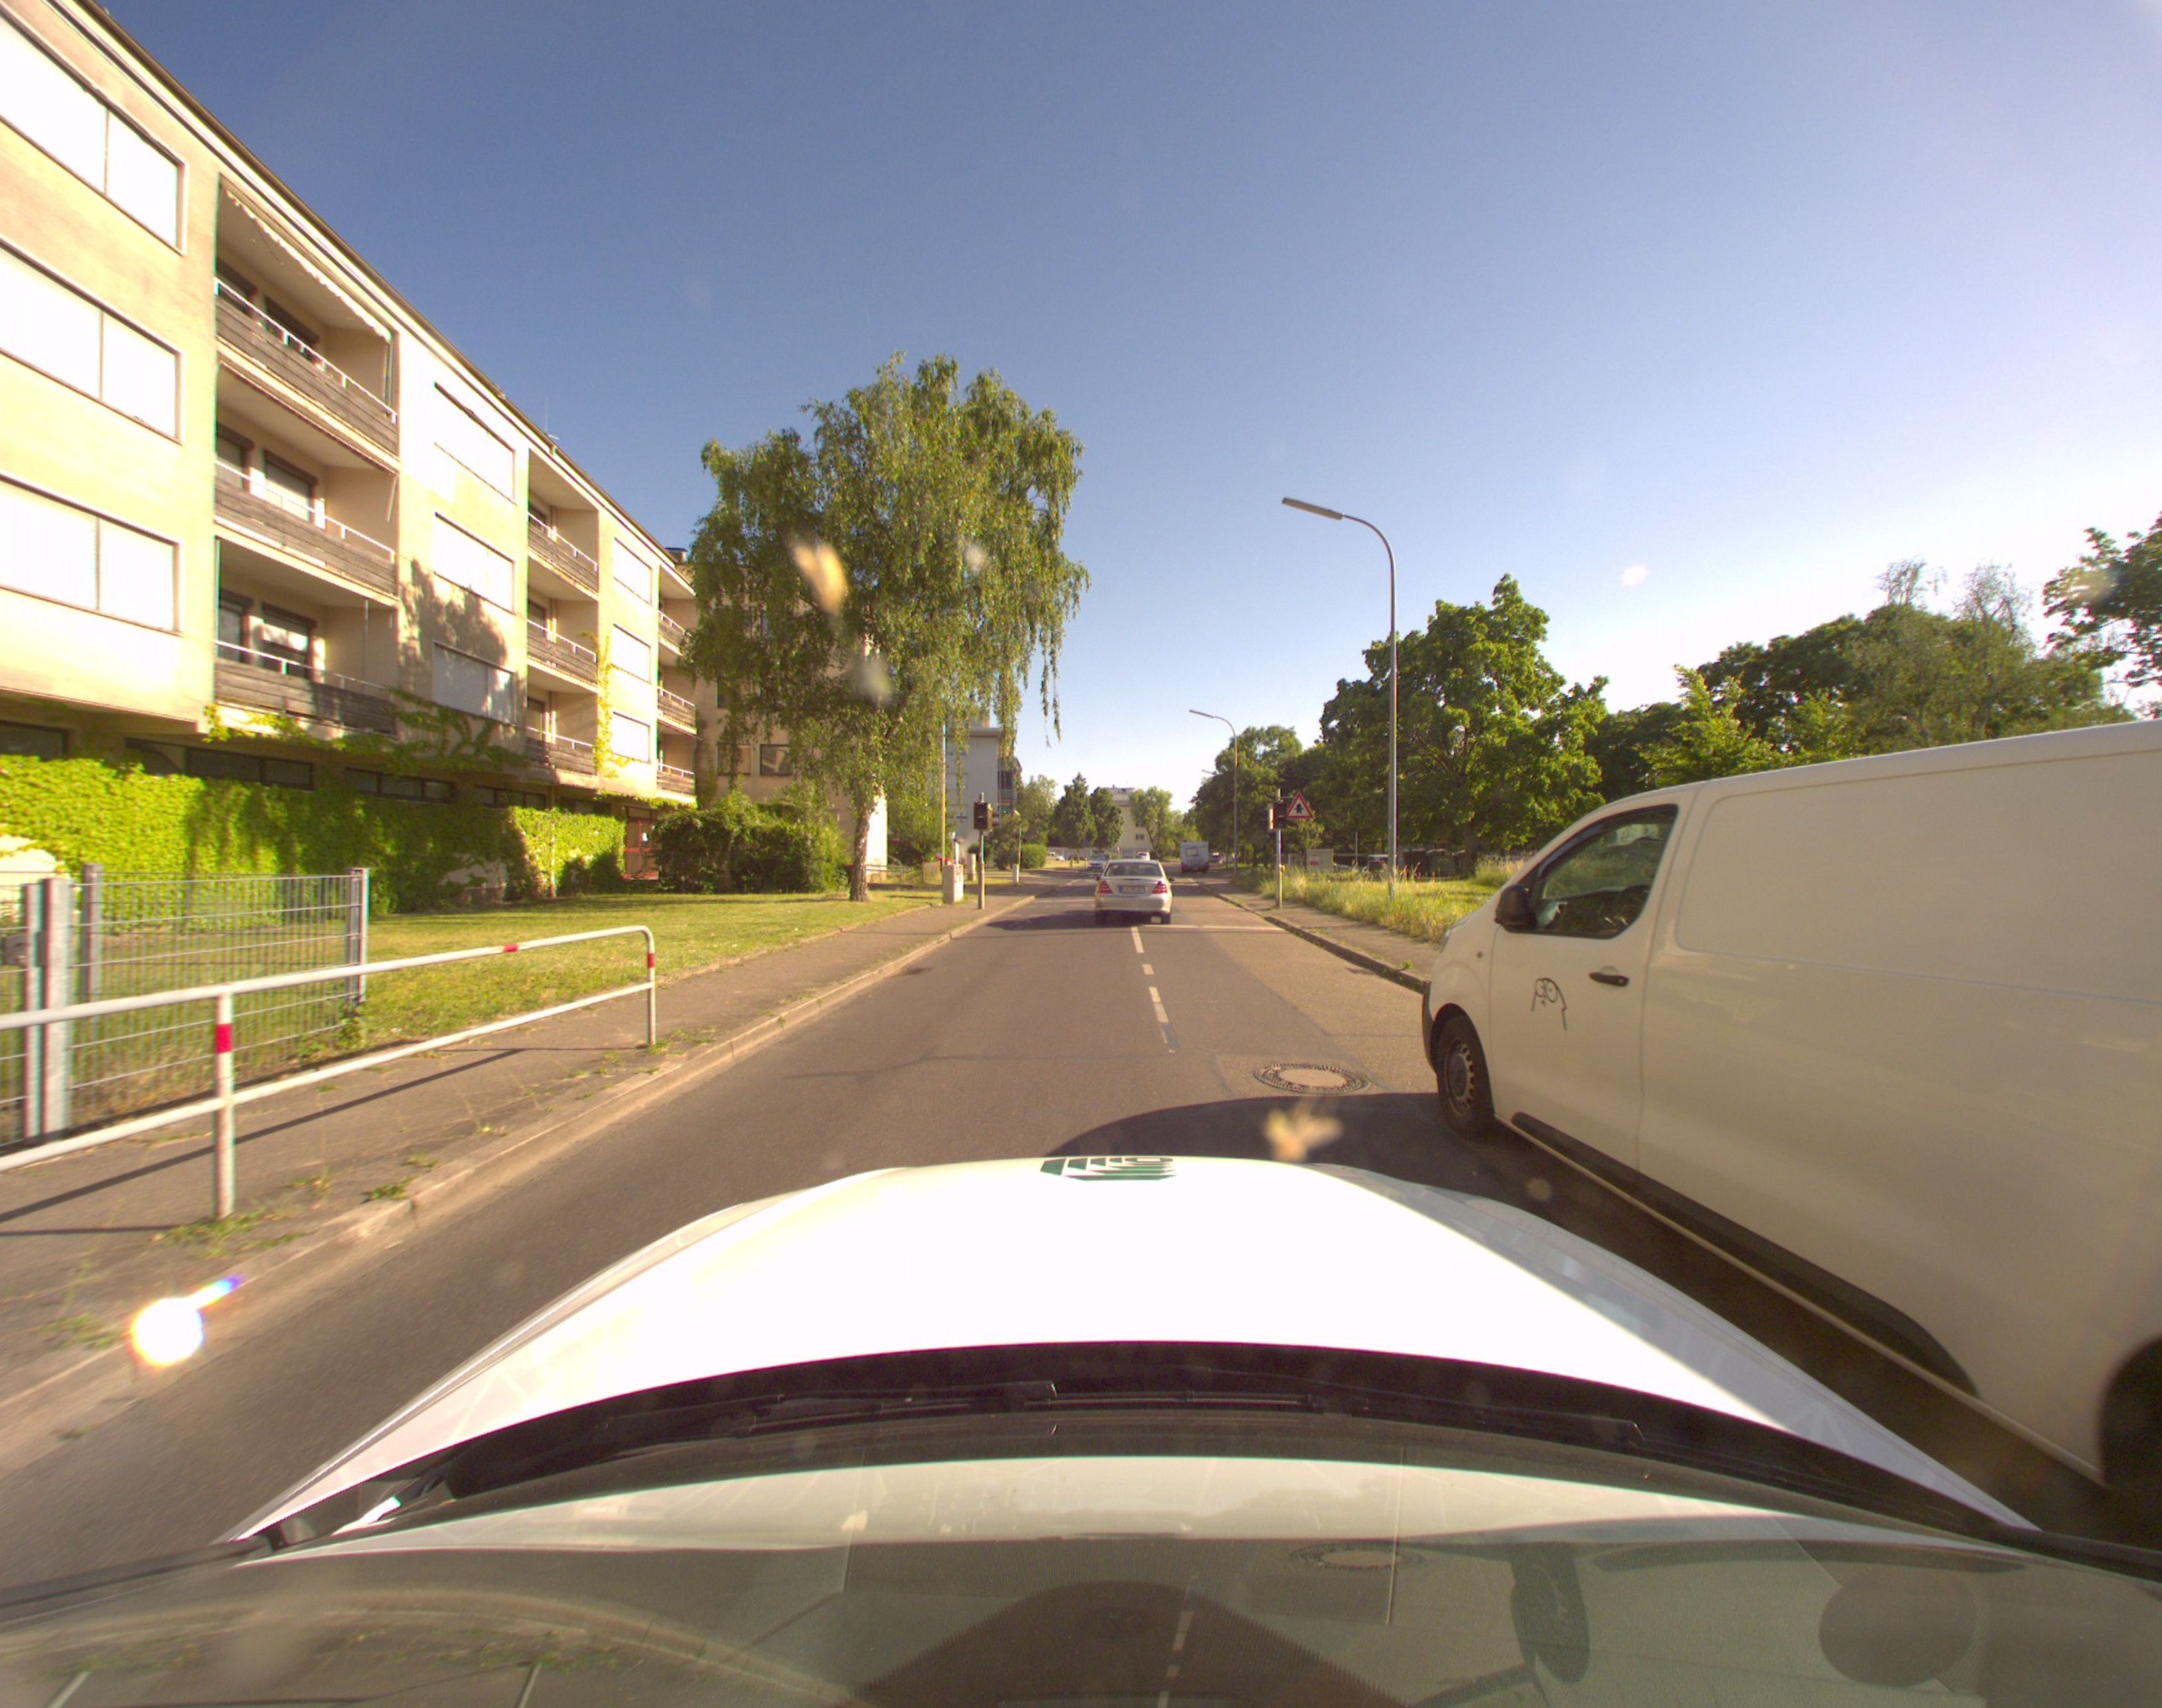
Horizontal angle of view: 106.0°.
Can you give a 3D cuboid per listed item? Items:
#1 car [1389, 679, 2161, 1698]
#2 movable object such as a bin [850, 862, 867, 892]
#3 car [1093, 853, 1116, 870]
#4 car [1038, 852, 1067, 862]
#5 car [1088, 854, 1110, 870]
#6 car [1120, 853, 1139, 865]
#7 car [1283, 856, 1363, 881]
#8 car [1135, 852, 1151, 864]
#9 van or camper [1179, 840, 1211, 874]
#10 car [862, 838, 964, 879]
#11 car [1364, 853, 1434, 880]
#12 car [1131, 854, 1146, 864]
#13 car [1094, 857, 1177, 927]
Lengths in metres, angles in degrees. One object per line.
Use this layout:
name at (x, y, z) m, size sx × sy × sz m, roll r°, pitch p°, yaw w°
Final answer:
car at (2.983, 0.628, 3.015) m, size 1.908 × 1.871 × 4.866 m, roll 1°, pitch 0°, yaw 1°
movable object such as a bin at (-7.896, 0.800, 28.894) m, size 0.564 × 1.053 × 0.553 m, roll 0°, pitch -1°, yaw -18°
car at (2.457, 0.725, 84.119) m, size 1.905 × 1.603 × 4.820 m, roll 2°, pitch 0°, yaw 6°
car at (-5.528, 0.573, 156.901) m, size 5.065 × 1.951 × 2.247 m, roll 0°, pitch 0°, yaw 17°
car at (1.758, 0.776, 77.857) m, size 1.637 × 1.466 × 4.339 m, roll 1°, pitch 0°, yaw 7°
car at (6.751, 0.707, 112.666) m, size 2.023 × 1.492 × 5.270 m, roll 2°, pitch 0°, yaw 9°
car at (14.487, 0.868, 48.962) m, size 4.399 × 1.337 × 1.750 m, roll 1°, pitch 1°, yaw 9°
car at (10.056, 0.690, 131.756) m, size 2.001 × 1.885 × 5.206 m, roll 2°, pitch 0°, yaw 11°
van or camper at (9.469, 0.246, 68.091) m, size 2.339 × 2.596 × 6.437 m, roll -3°, pitch 0°, yaw 6°
car at (-10.561, 0.272, 51.575) m, size 5.879 × 2.428 × 2.216 m, roll -1°, pitch 1°, yaw 3°
car at (18.824, 0.726, 48.366) m, size 3.660 × 1.578 × 1.834 m, roll 0°, pitch 0°, yaw 12°
car at (8.818, 0.774, 125.277) m, size 1.822 × 1.518 × 4.234 m, roll 2°, pitch 0°, yaw 10°
car at (1.232, 0.806, 18.819) m, size 1.726 × 1.434 × 3.441 m, roll 0°, pitch 0°, yaw 3°
